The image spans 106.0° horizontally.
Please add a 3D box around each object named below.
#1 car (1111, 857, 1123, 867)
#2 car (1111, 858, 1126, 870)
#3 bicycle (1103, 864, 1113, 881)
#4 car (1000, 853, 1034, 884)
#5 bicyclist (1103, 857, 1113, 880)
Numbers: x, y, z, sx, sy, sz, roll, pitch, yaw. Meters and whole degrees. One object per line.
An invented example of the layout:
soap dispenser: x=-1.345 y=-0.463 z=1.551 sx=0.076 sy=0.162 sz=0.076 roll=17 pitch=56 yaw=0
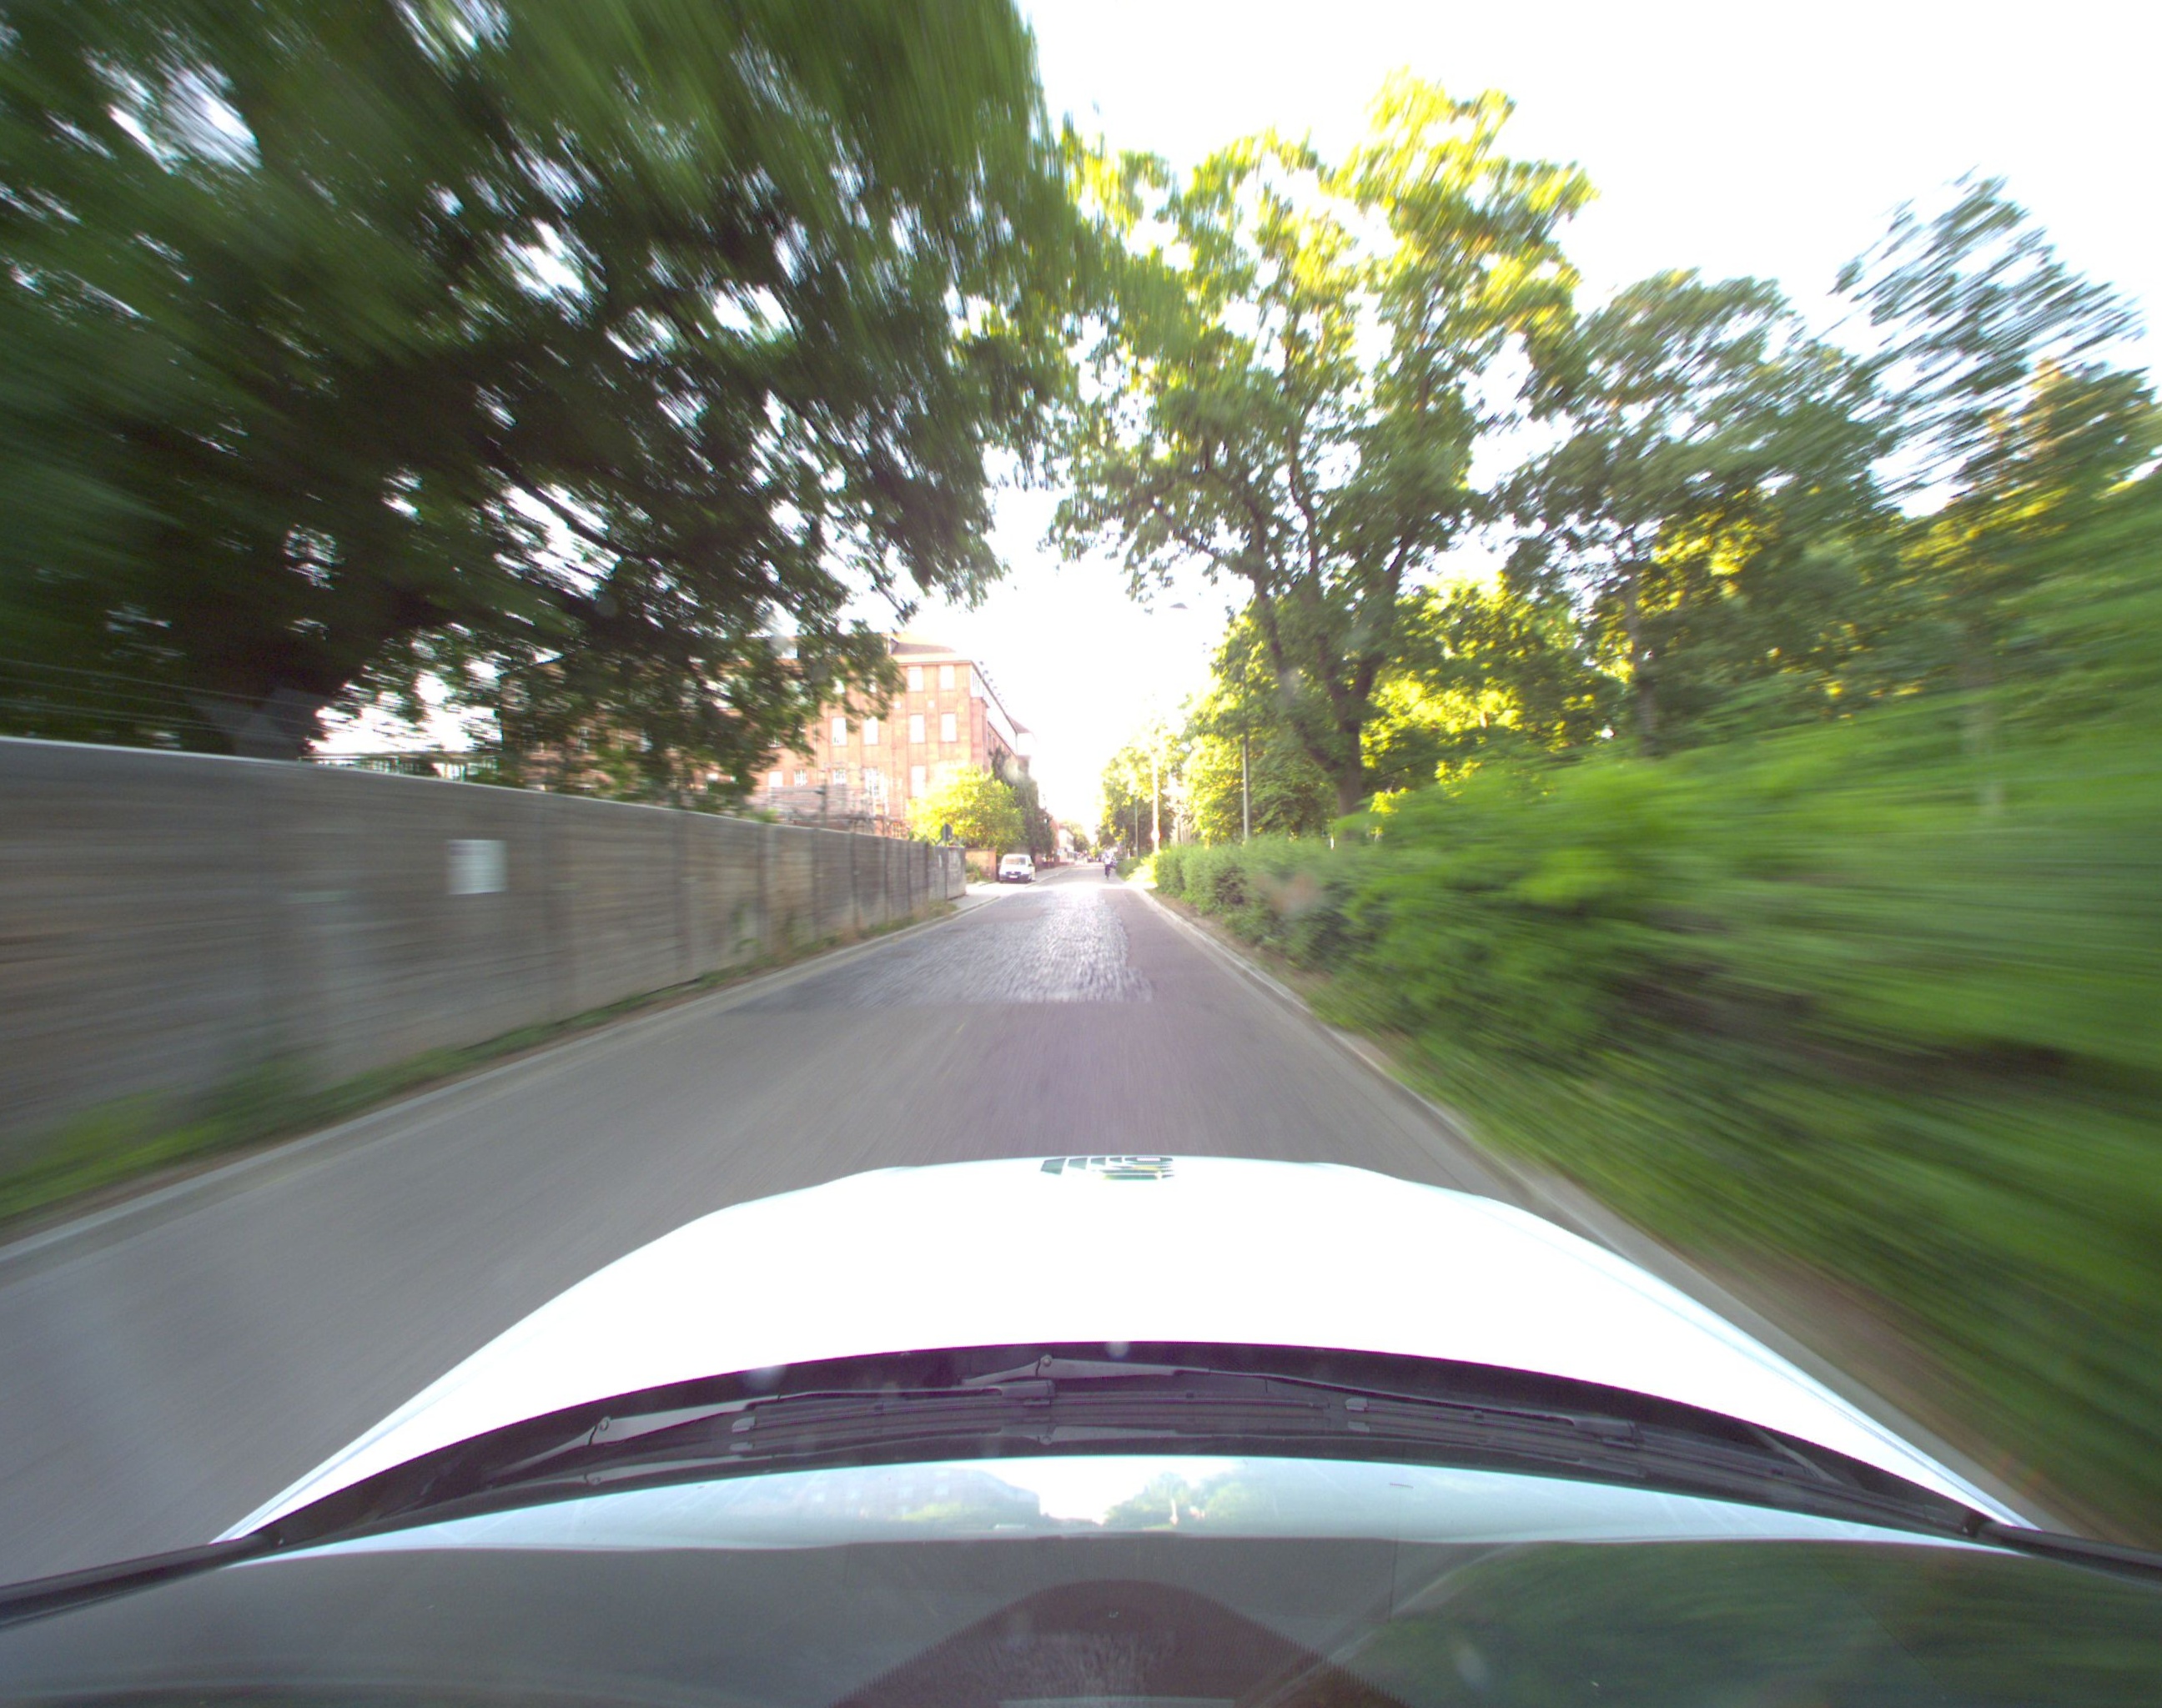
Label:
car: x=5.616 y=1.273 z=127.928 sx=1.710 sy=1.538 sz=4.047 roll=-2 pitch=0 yaw=-1
car: x=5.229 y=1.388 z=114.033 sx=1.680 sy=1.447 sz=3.670 roll=-5 pitch=-1 yaw=-1
bicycle: x=1.995 y=1.368 z=60.149 sx=0.636 sy=1.193 sz=1.875 roll=0 pitch=0 yaw=-1
car: x=-4.251 y=0.976 z=54.710 sx=1.877 sy=2.014 sz=5.223 roll=0 pitch=-1 yaw=-1
bicyclist: x=1.994 y=1.045 z=60.137 sx=0.637 sy=1.667 sz=0.842 roll=0 pitch=-1 yaw=-1
